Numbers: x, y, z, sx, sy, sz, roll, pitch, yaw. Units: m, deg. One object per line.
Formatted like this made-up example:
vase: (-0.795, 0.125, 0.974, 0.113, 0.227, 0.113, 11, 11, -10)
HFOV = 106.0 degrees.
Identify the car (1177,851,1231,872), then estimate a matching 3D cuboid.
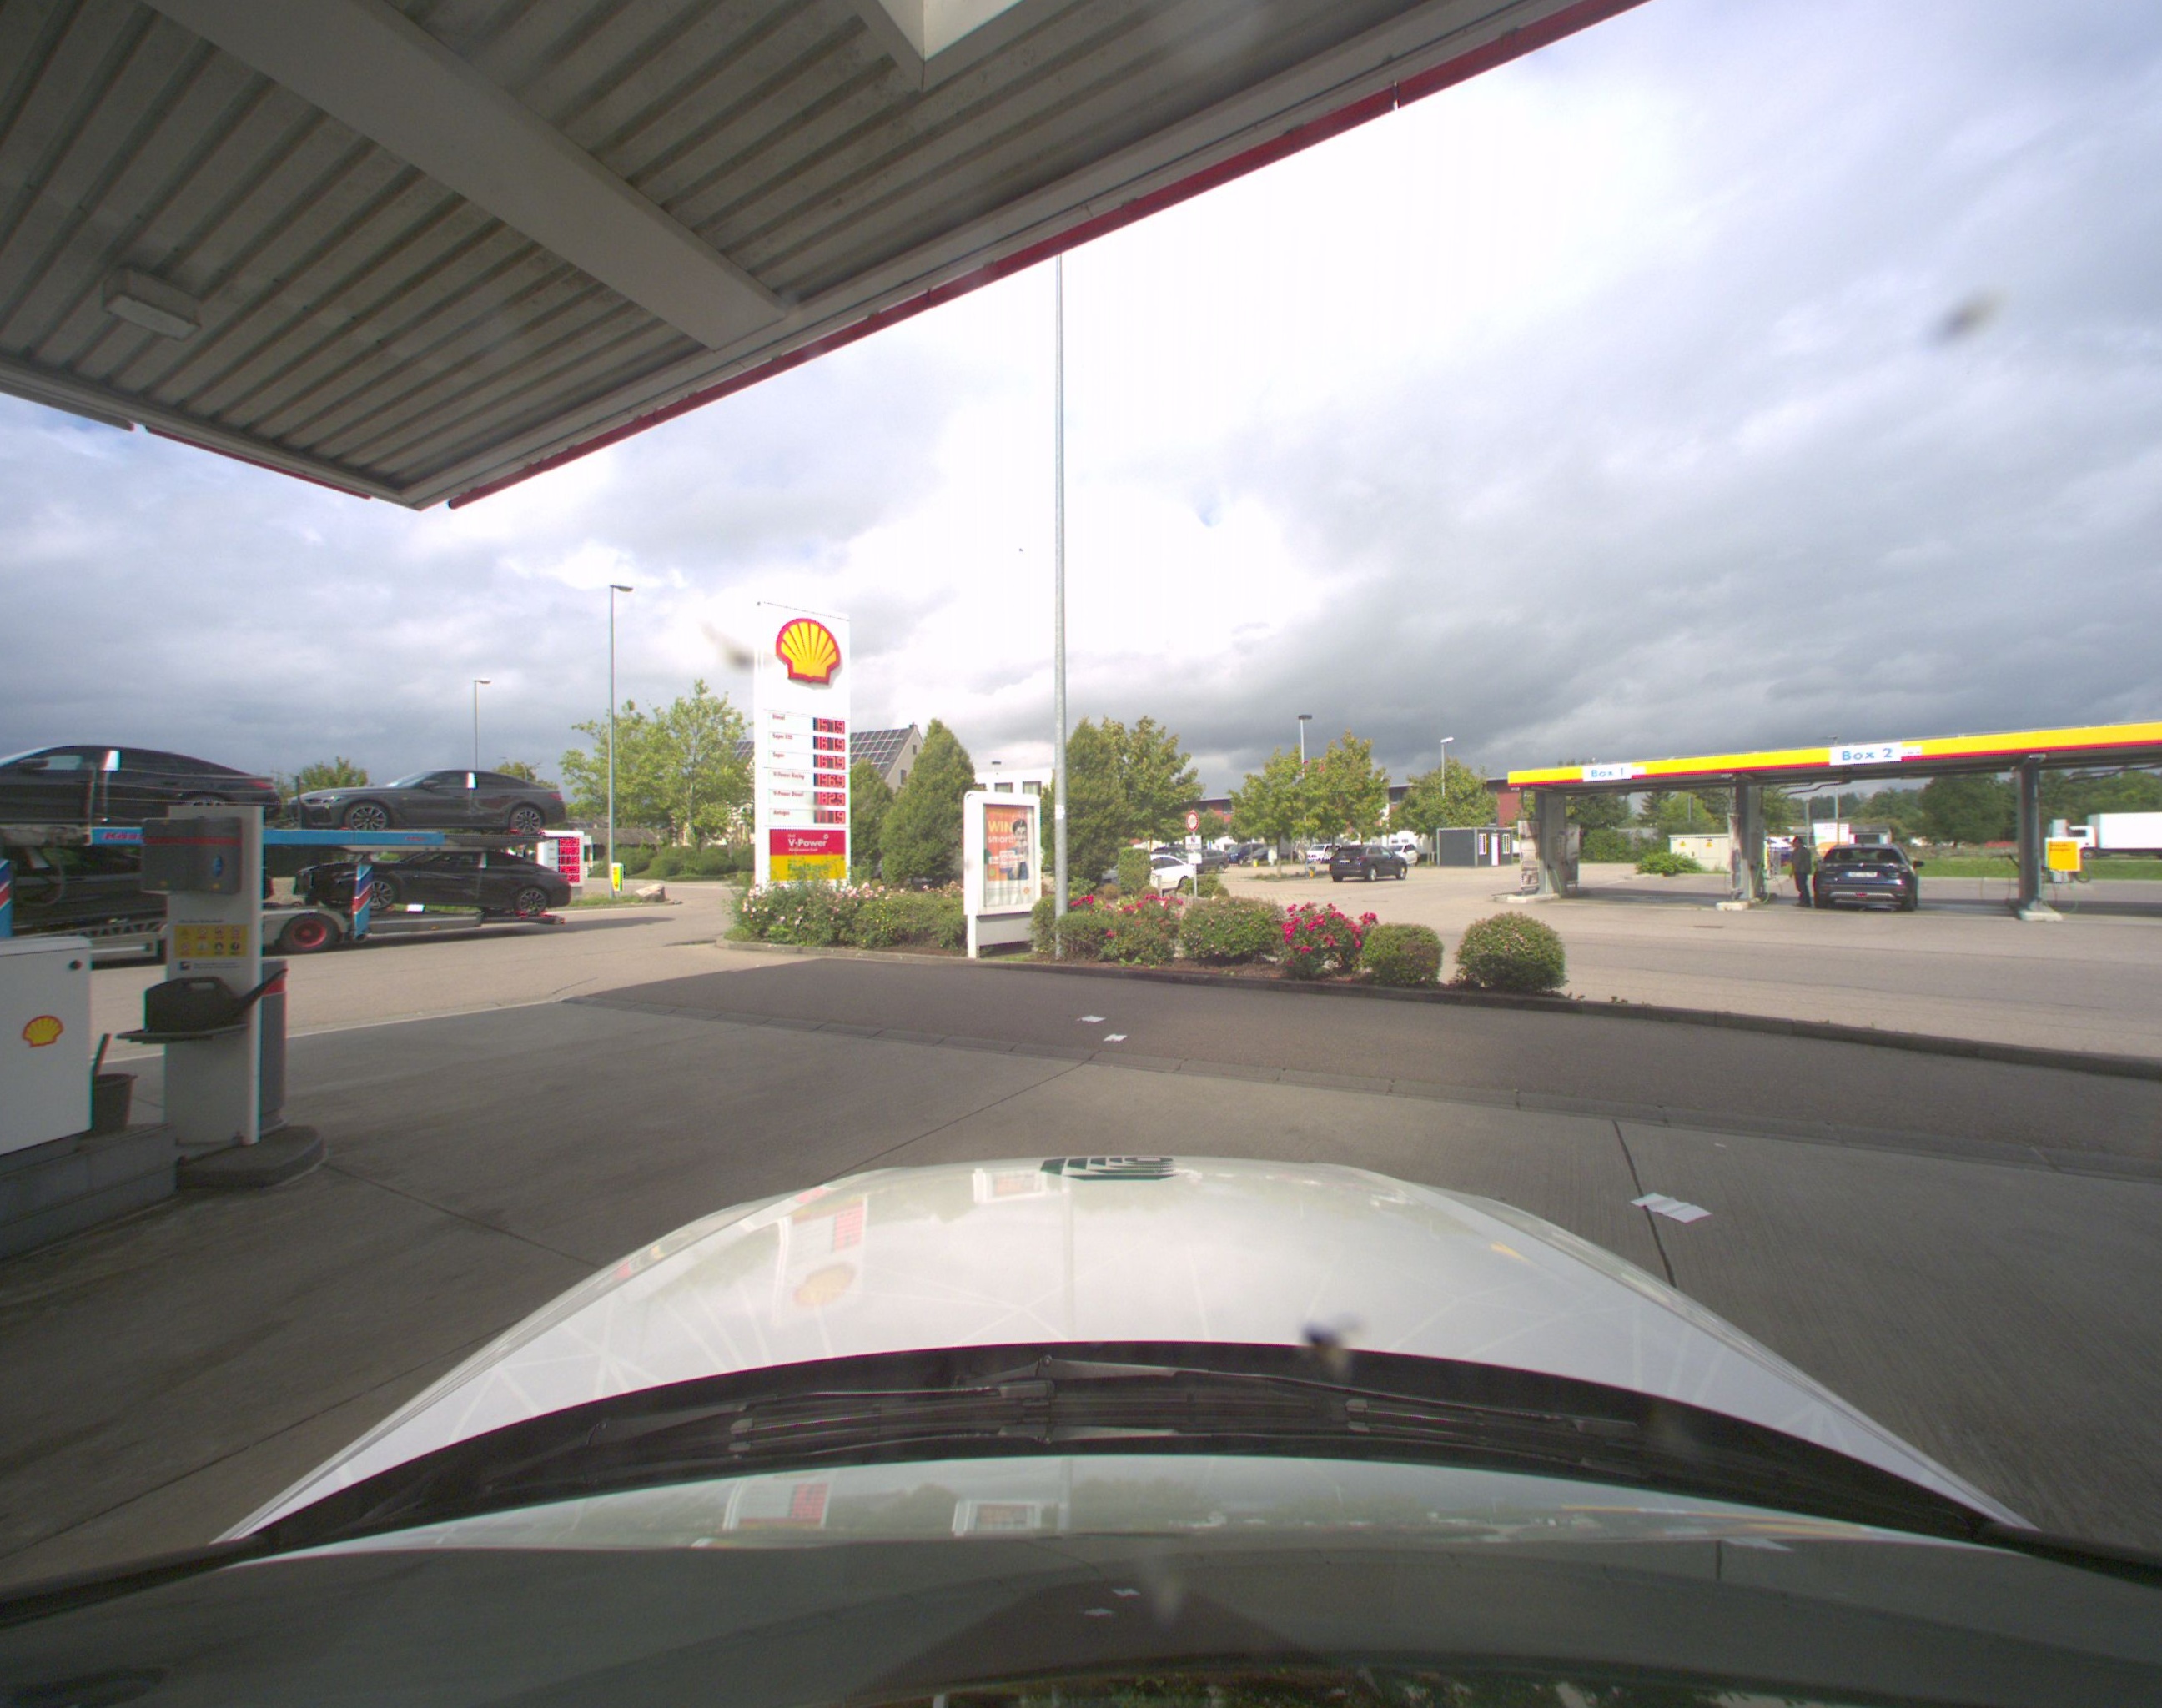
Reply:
car: (7.520, 0.454, 49.688, 3.245, 1.228, 1.488, 0, -1, -42)

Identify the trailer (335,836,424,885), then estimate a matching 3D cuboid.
trailer: (-58.418, 0.564, 67.657, 12.548, 3.776, 2.757, -1, -1, 36)

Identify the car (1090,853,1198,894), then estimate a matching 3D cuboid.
car: (2.380, 0.687, 30.002, 4.368, 1.404, 1.354, 0, -1, -42)

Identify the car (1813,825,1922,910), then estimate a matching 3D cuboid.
car: (19.428, 0.317, 20.062, 3.828, 1.897, 1.703, 0, -1, -43)

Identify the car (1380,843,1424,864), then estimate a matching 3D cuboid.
car: (20.587, -0.041, 52.203, 3.120, 1.307, 1.352, 0, -1, -42)

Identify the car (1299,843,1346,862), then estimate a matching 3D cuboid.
car: (23.845, -0.113, 80.256, 4.903, 1.833, 2.159, 0, -1, -41)

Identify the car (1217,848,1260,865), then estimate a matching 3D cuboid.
car: (12.925, 0.190, 66.644, 3.407, 1.320, 1.726, 0, -1, -42)

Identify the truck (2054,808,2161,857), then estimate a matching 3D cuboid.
truck: (78.208, -1.555, 60.013, 7.989, 3.534, 2.714, -1, -1, 41)

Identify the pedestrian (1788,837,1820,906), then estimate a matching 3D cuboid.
pedestrian: (18.251, 0.440, 20.563, 0.551, 1.722, 0.531, -1, -1, 38)

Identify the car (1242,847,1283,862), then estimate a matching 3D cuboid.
car: (14.468, 0.042, 64.861, 3.437, 1.179, 1.468, 0, -1, -42)

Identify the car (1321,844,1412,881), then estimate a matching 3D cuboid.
car: (12.860, 0.378, 36.564, 4.527, 1.548, 1.864, 0, -1, -41)

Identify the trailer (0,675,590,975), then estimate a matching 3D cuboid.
trailer: (-16.444, -0.410, 13.660, 2.711, 4.423, 14.450, -1, -1, 31)
